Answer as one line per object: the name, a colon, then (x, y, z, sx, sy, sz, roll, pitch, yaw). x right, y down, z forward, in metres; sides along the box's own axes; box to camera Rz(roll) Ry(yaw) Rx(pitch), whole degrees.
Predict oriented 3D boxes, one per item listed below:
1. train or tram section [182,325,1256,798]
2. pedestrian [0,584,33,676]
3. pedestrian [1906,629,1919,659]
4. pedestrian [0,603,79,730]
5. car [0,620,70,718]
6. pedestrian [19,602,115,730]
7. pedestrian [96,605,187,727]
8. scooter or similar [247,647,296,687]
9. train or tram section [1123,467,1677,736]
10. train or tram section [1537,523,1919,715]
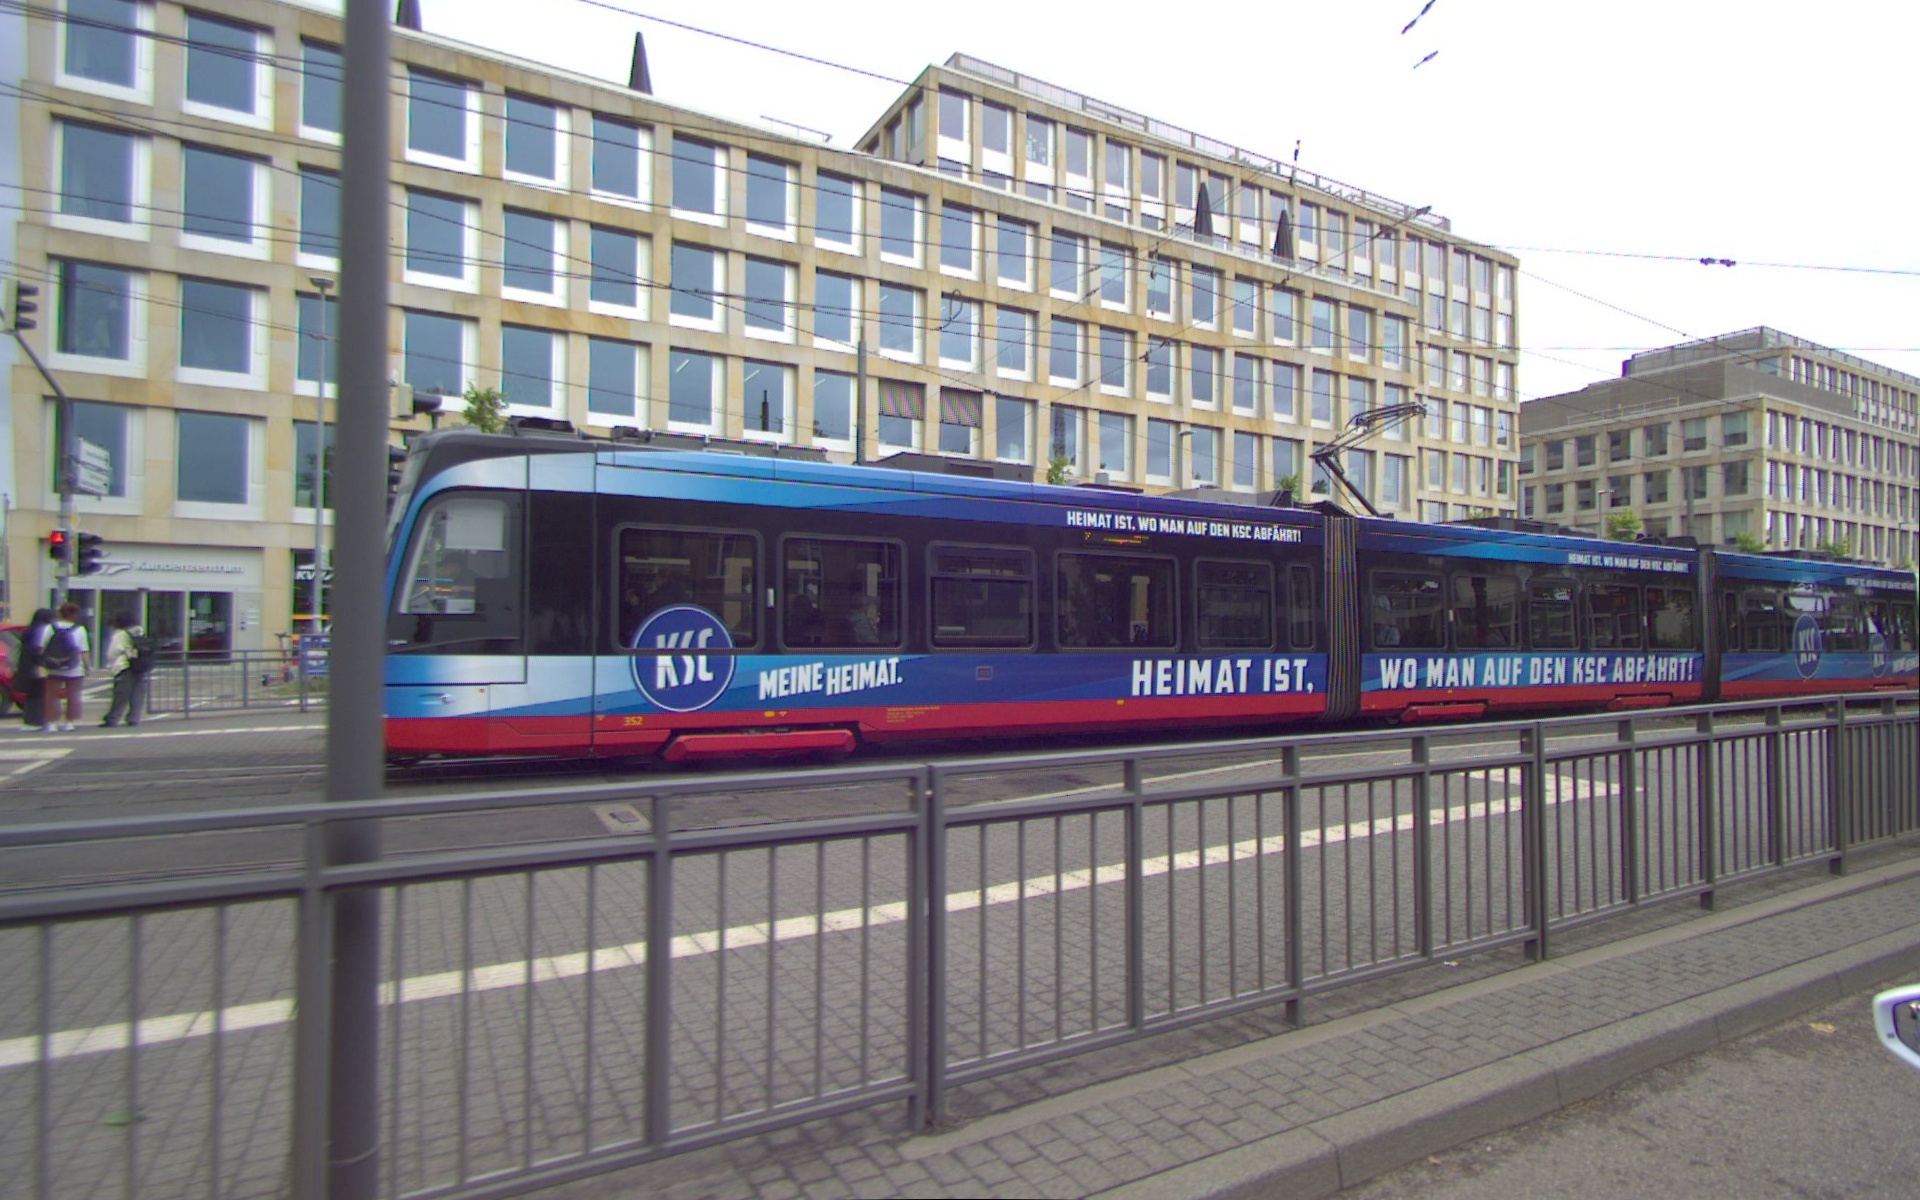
train or tram section: (-1.670, -0.064, 12.008, 11.629, 3.688, 2.841, 2, -2, -30)
pedestrian: (-21.726, 0.675, 22.607, 0.986, 2.040, 1.038, 2, -2, -30)
pedestrian: (65.469, 2.997, 68.882, 0.716, 2.040, 0.710, 2, -2, -29)
pedestrian: (-12.213, 0.864, 13.210, 0.514, 1.619, 0.717, 1, -2, 6)
car: (-16.014, 1.015, 15.033, 3.725, 1.468, 1.730, 2, -2, -31)
pedestrian: (-11.686, 0.851, 13.163, 0.514, 1.619, 0.717, 1, -2, 6)
pedestrian: (-11.289, 0.899, 13.861, 0.704, 1.619, 0.707, 0, -2, 29)
scooter or similar: (-16.097, 1.562, 23.511, 0.685, 0.860, 1.479, 2, -1, -26)
train or tram section: (8.336, 0.268, 17.937, 11.564, 3.688, 2.841, 2, -2, -30)
train or tram section: (19.125, 0.642, 24.219, 13.363, 3.740, 2.841, 2, -2, -30)
